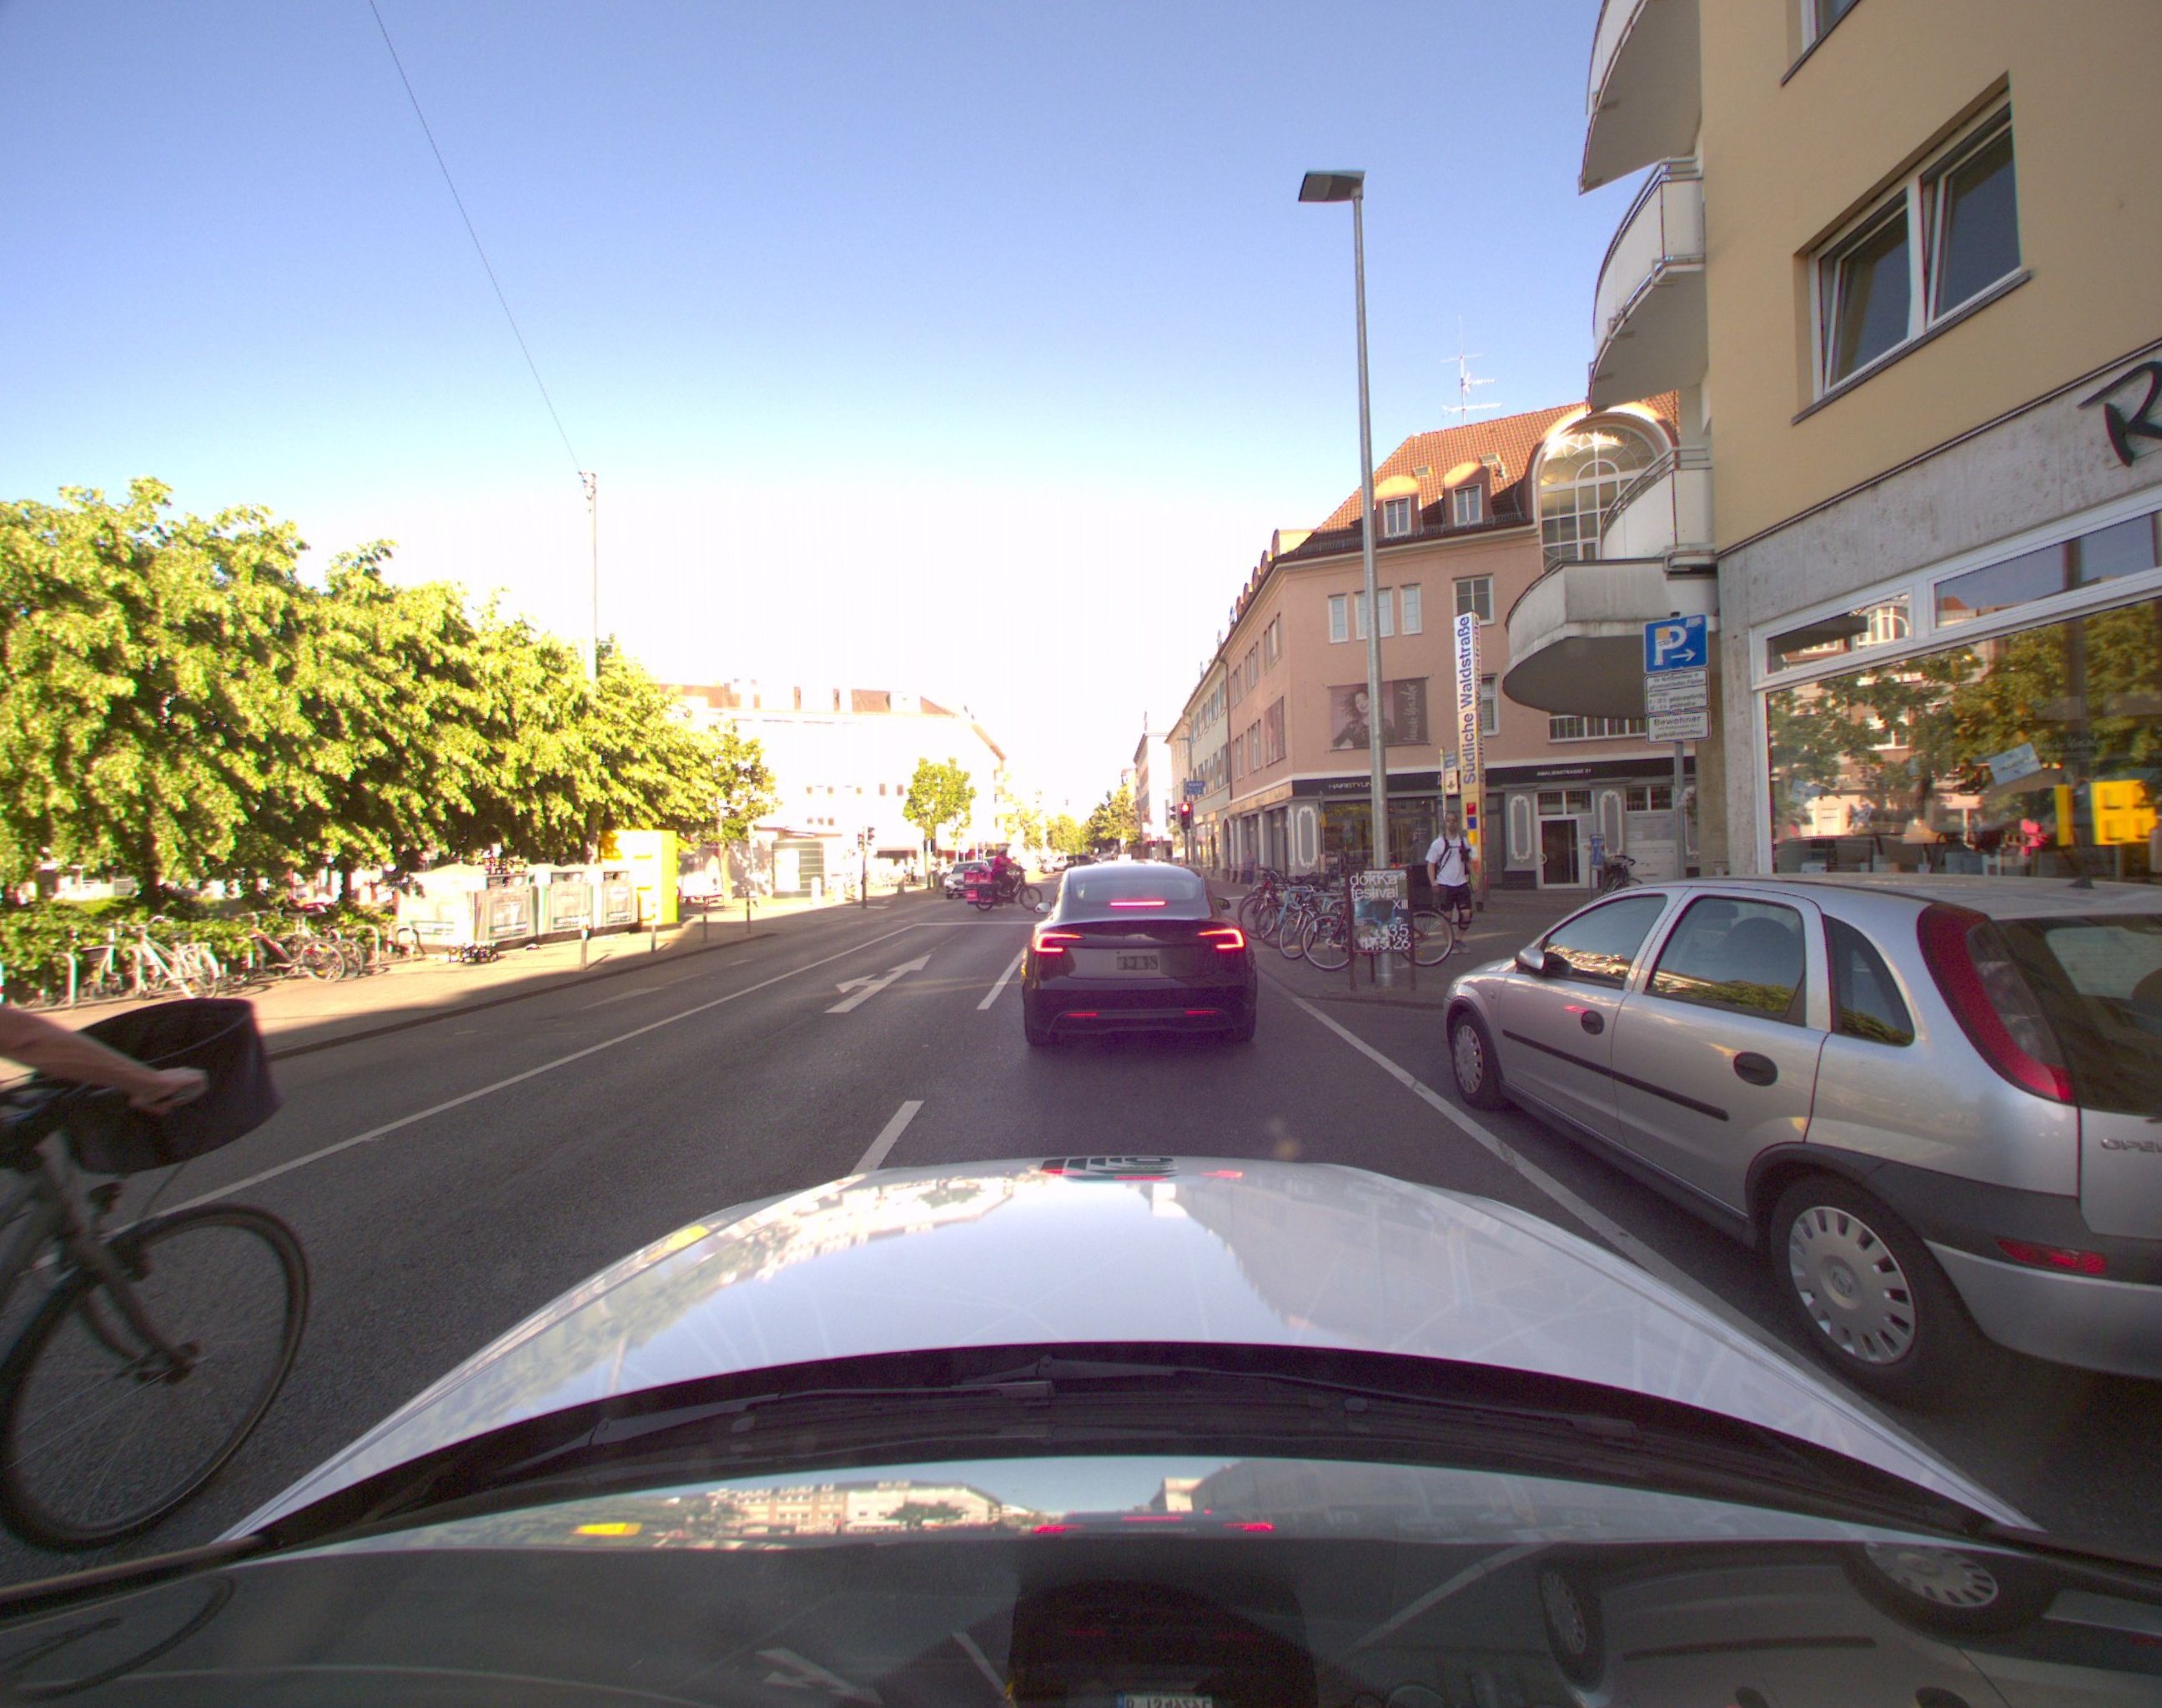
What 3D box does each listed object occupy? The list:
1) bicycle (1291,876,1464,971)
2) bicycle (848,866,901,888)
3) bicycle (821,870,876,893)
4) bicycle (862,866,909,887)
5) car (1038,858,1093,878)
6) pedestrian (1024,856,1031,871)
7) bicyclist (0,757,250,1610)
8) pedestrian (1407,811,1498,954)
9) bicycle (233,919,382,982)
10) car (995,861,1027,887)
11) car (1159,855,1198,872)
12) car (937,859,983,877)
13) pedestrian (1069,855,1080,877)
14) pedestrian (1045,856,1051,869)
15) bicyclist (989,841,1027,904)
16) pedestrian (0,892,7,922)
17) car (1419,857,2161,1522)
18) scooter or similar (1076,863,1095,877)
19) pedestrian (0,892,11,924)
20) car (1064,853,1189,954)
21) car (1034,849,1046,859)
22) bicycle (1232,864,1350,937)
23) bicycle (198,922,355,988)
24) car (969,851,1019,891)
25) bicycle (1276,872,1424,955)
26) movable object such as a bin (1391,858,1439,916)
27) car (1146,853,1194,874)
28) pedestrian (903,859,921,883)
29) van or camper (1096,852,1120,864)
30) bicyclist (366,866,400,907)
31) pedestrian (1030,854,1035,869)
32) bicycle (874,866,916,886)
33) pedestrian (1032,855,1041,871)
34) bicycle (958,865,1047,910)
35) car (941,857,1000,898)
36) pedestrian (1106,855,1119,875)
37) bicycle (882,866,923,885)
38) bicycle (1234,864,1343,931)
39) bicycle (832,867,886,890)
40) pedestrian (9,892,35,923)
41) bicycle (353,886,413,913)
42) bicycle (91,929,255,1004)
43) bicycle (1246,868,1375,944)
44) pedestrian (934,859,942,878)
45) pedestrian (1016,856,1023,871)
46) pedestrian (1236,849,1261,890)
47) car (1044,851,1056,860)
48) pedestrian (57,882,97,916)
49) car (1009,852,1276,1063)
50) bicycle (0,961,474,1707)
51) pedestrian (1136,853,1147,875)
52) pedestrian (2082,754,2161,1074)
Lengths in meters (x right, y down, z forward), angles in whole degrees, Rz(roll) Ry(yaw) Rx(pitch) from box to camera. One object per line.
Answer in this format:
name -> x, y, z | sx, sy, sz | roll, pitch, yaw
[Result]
bicycle -> 3.634, 0.843, 10.081 | 1.875, 1.044, 0.653 | -2, 0, 3
bicycle -> -12.155, 1.362, 47.983 | 2.867, 1.270, 0.942 | 0, -1, -1
bicycle -> -12.326, 1.437, 43.243 | 2.652, 1.195, 0.942 | 0, -1, -1
bicycle -> -12.054, 1.385, 50.300 | 2.655, 1.259, 0.942 | 0, -1, -1
car -> -1.574, 1.441, 82.306 | 5.213, 1.866, 1.871 | -1, 0, -20
pedestrian -> -6.408, 1.128, 97.498 | 0.734, 1.868, 0.787 | 0, -1, -15
bicyclist -> -2.189, 0.574, 1.351 | 0.603, 1.484, 0.959 | 0, -1, 3
pedestrian -> 4.973, 0.371, 10.965 | 0.805, 1.823, 0.984 | 0, -1, 5
bicycle -> -11.463, 1.423, 12.101 | 1.663, 0.859, 0.469 | 0, -1, -5
car -> -4.257, 1.203, 50.045 | 1.455, 1.430, 3.607 | -5, -1, 2
car -> 10.795, 1.046, 90.118 | 3.965, 1.788, 2.049 | -1, 0, 13
car -> -11.538, 1.314, 77.713 | 4.133, 1.530, 1.541 | -1, 0, -20
pedestrian -> -0.530, 0.962, 65.131 | 0.660, 1.760, 0.649 | 0, -1, -22
pedestrian -> -4.888, 1.306, 121.071 | 0.697, 1.868, 0.903 | 0, -1, -22
bicyclist -> -2.112, 0.546, 23.653 | 0.859, 1.755, 0.683 | -3, -2, 9
pedestrian -> -56.640, 2.742, 42.199 | 1.029, 1.520, 1.023 | 0, -1, -43
car -> 2.959, 0.736, 3.545 | 1.578, 1.426, 3.581 | 0, -1, 2
scooter or similar -> 0.386, 1.263, 65.590 | 1.339, 1.134, 0.804 | 0, -1, -23
pedestrian -> -53.662, 2.667, 40.172 | 0.928, 1.520, 0.924 | 0, -1, -43
car -> 0.741, 0.747, 14.305 | 1.843, 1.482, 4.453 | 0, 0, 2
car -> -9.014, -0.016, 180.137 | 2.266, 2.014, 4.720 | 0, -1, 3
bicycle -> 3.495, 0.773, 13.640 | 1.806, 1.152, 0.653 | -1, 0, 3
bicycle -> -11.428, 1.422, 11.602 | 1.667, 0.859, 0.469 | 0, -1, -5
car -> -4.496, 0.833, 42.919 | 1.938, 1.947, 4.822 | -1, 0, 2
bicycle -> 3.654, 0.795, 11.154 | 1.806, 1.060, 0.653 | -1, 0, 3
movable object such as a bin -> 6.748, 0.657, 16.473 | 0.633, 1.103, 0.728 | -4, -1, 5
car -> 8.147, 0.870, 74.648 | 4.006, 1.867, 1.686 | -1, 0, -20
pedestrian -> -11.824, 1.172, 56.980 | 1.096, 1.611, 1.258 | 0, -1, -20
van or camper -> 5.639, 0.848, 167.658 | 4.832, 2.438, 1.851 | -1, 0, 1
bicyclist -> -24.297, 1.128, 28.355 | 0.701, 1.381, 0.577 | -3, -2, 14
pedestrian -> -6.213, 0.975, 104.223 | 0.693, 1.868, 0.658 | 0, -1, -3
bicycle -> -11.999, 1.399, 52.576 | 2.535, 1.251, 0.942 | 0, -1, -1
pedestrian -> -5.165, 1.098, 94.844 | 0.726, 1.868, 0.796 | -1, -1, 30
bicycle -> -2.277, 0.965, 23.684 | 2.376, 1.151, 0.714 | -4, 0, 8
car -> -4.884, 1.014, 36.597 | 1.818, 1.565, 4.302 | -5, -1, 2
pedestrian -> 2.595, 0.927, 67.865 | 0.812, 1.609, 0.702 | 0, -1, -35
bicycle -> -12.053, 1.419, 55.003 | 2.535, 1.251, 0.942 | 0, -1, -1
bicycle -> 3.736, 0.781, 14.770 | 1.806, 1.152, 0.653 | -1, 0, 3
bicycle -> -12.394, 1.369, 45.587 | 2.772, 1.274, 0.933 | 0, -1, -2
pedestrian -> -52.949, 2.666, 40.708 | 0.827, 1.520, 0.782 | -1, -1, 38
bicycle -> -24.285, 1.596, 28.328 | 1.840, 0.823, 0.583 | -4, -1, 14
bicycle -> -11.463, 1.416, 10.305 | 1.560, 0.886, 0.470 | 0, -1, 1
bicycle -> 3.517, 0.788, 12.565 | 1.806, 1.102, 0.653 | -1, 0, 3
pedestrian -> -11.350, 1.160, 64.764 | 0.624, 1.524, 0.577 | 0, -1, -11
pedestrian -> -7.339, 1.133, 97.287 | 0.734, 1.868, 0.787 | 0, -1, -15
pedestrian -> 6.382, 0.577, 31.049 | 0.786, 1.549, 0.724 | 0, -1, 2
car -> -7.158, 0.287, 188.732 | 2.266, 2.014, 4.720 | 0, -1, 3
pedestrian -> -55.948, 2.480, 45.403 | 1.088, 1.842, 1.309 | -1, -1, 34
car -> 0.494, 0.736, 7.881 | 1.843, 1.447, 4.453 | 0, 0, 2
bicycle -> -2.189, 0.926, 1.453 | 0.625, 1.223, 2.002 | 0, -1, 3
pedestrian -> 5.111, 0.848, 68.725 | 0.701, 1.877, 0.813 | -1, -1, 22
pedestrian -> 6.305, 0.306, 4.491 | 0.789, 1.754, 0.718 | -3, -1, -24
